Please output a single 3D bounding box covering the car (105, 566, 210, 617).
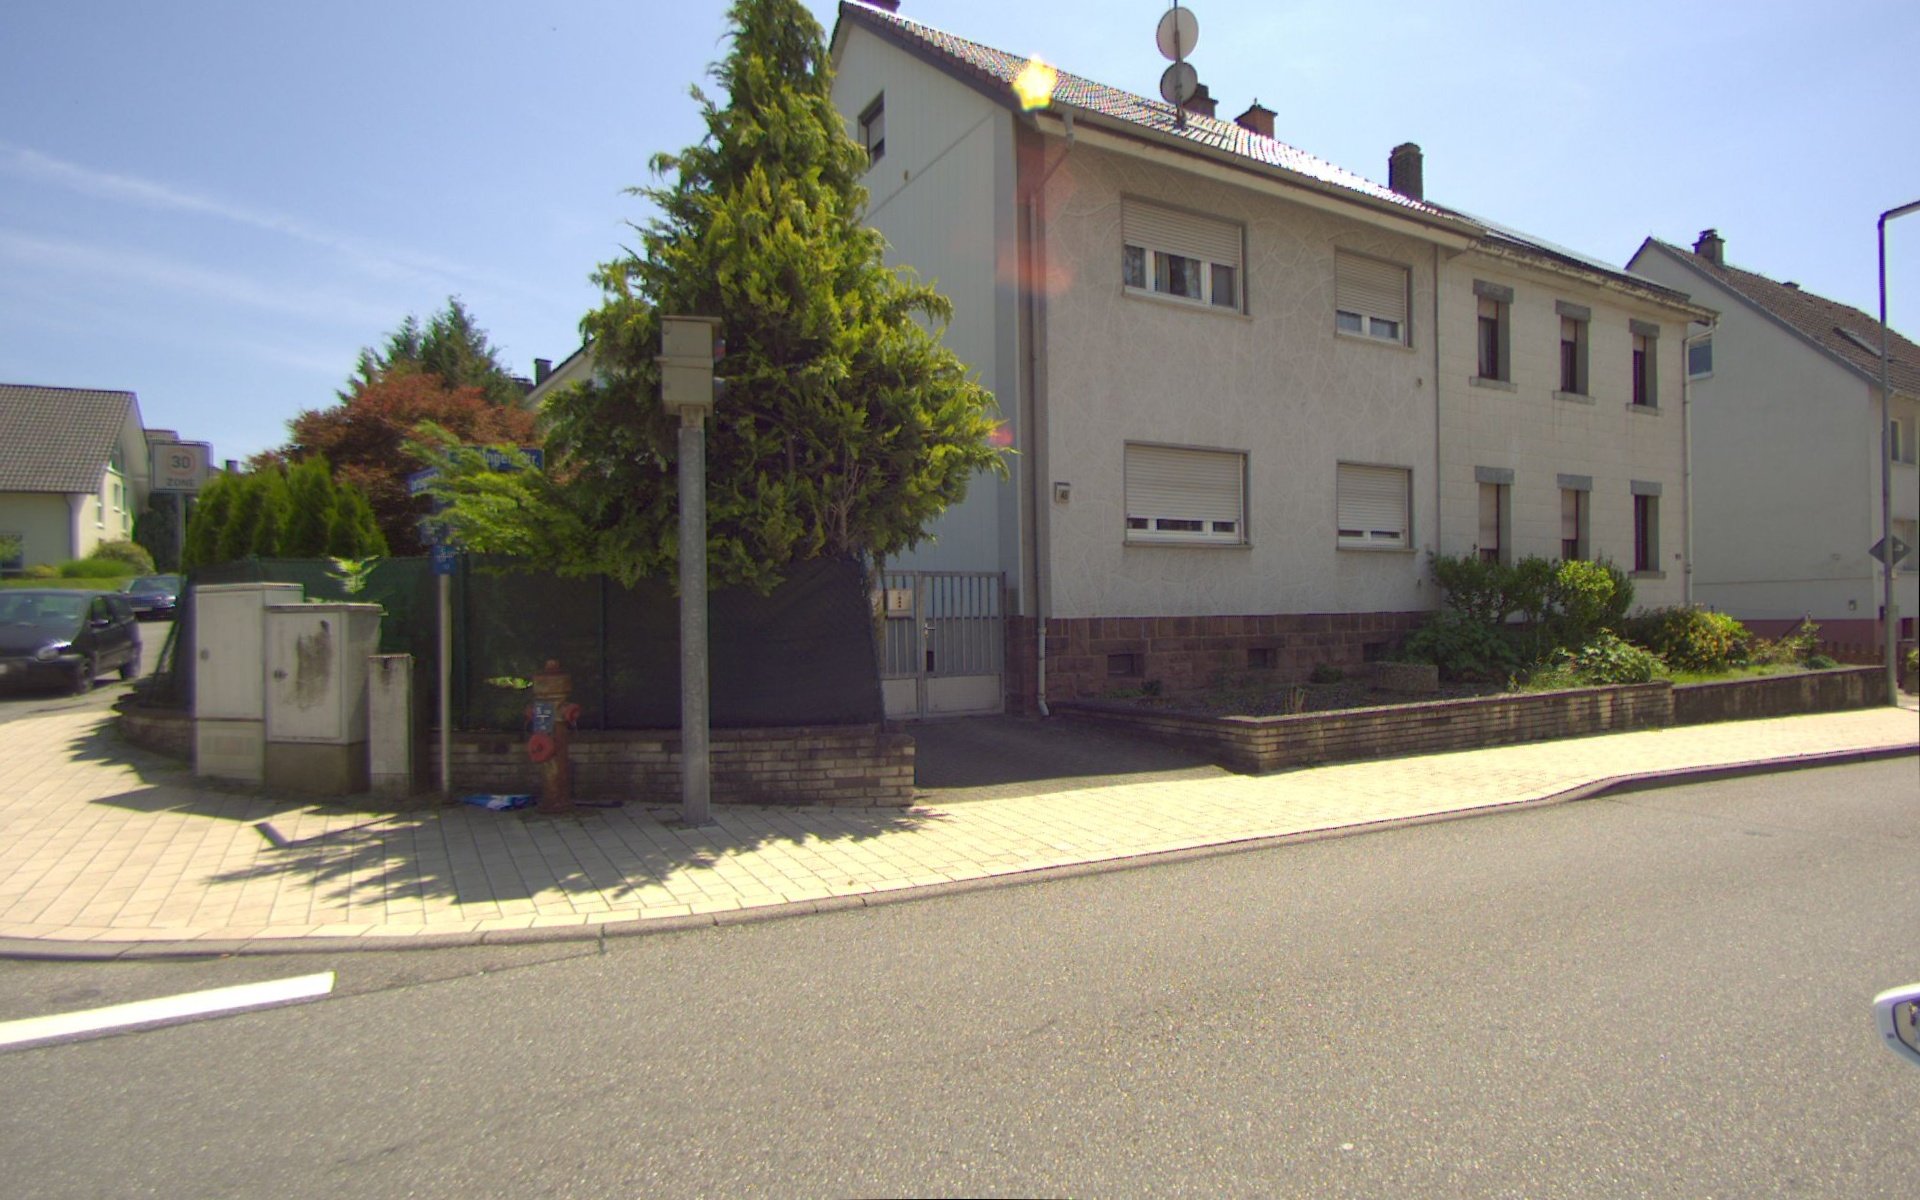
[{"bbox_3d":[-26.554,-0.311,33.386,1.851,1.573,3.883,1,1,-25],"label":"car"}]

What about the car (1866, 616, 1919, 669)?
[{"bbox_3d":[29.811,1.275,29.834,1.810,1.566,3.969,1,0,-29],"label":"car"}]

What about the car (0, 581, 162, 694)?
[{"bbox_3d":[-13.263,0.464,14.647,1.728,1.435,3.731,1,0,-25],"label":"car"}]
